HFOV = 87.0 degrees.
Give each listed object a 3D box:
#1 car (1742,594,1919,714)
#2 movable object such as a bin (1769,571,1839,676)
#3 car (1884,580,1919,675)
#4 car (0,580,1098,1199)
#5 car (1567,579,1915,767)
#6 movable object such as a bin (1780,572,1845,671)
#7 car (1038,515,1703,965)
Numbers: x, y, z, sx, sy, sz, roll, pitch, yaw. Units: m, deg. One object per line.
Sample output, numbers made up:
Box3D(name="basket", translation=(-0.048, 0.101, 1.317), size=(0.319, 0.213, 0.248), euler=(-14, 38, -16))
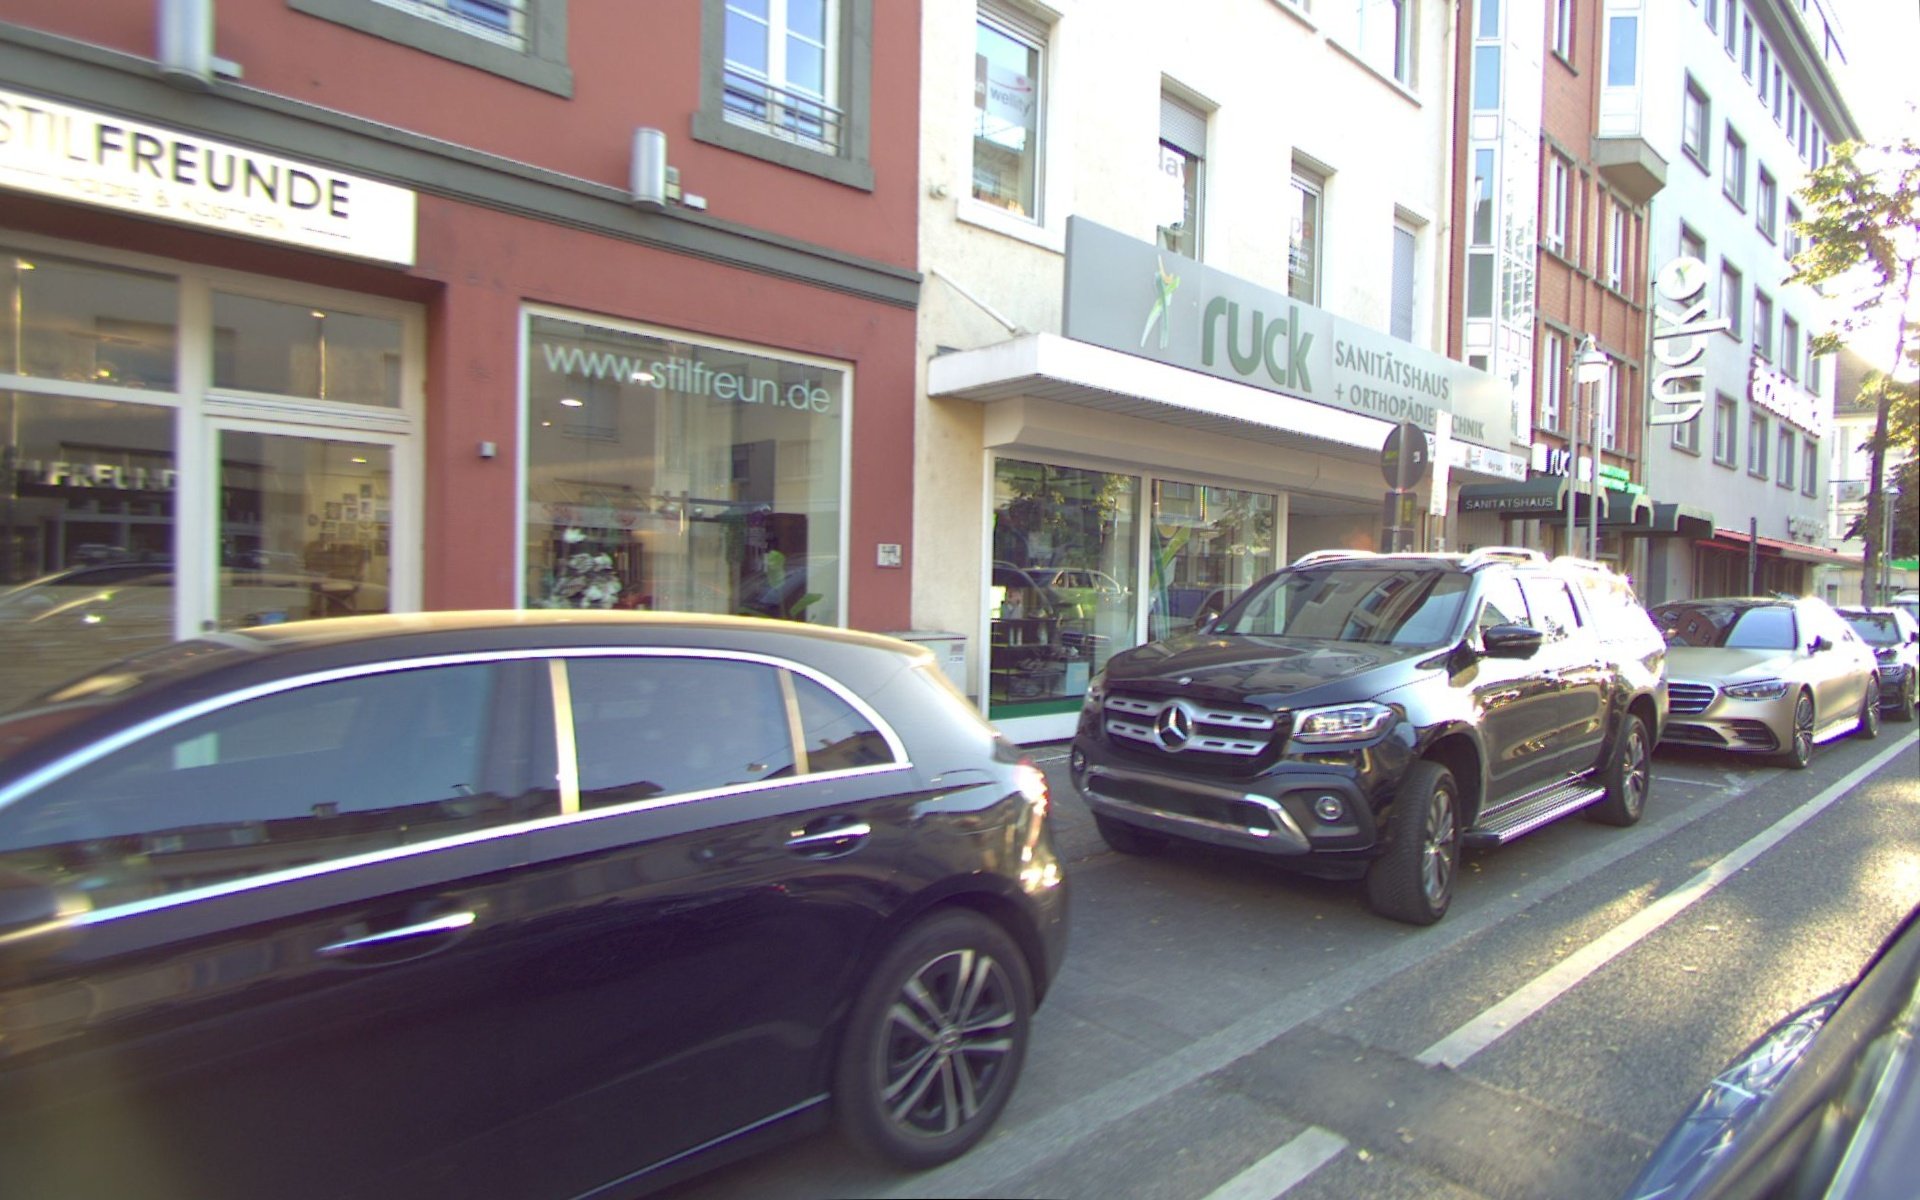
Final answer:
Box3D(name="car", translation=(12.619, 0.649, 14.225), size=(4.430, 1.438, 1.756), euler=(0, 0, -41))
Box3D(name="movable object such as a bin", translation=(15.182, 0.392, 18.194), size=(1.331, 1.796, 0.835), euler=(-1, 1, -44))
Box3D(name="car", translation=(19.785, 0.530, 20.257), size=(3.944, 1.801, 1.656), euler=(0, 0, -44))
Box3D(name="car", translation=(-1.774, 0.714, 2.250), size=(4.231, 1.502, 1.765), euler=(-1, 1, -40))
Box3D(name="car", translation=(8.345, 0.562, 10.629), size=(4.903, 1.546, 1.816), euler=(-1, 1, -39))
Box3D(name="movable object such as a bin", translation=(16.092, 0.373, 19.096), size=(1.186, 1.796, 0.835), euler=(-1, 1, -44))
Box3D(name="car", translation=(2.889, 0.507, 6.356), size=(4.972, 1.776, 1.886), euler=(-1, 1, -42))
